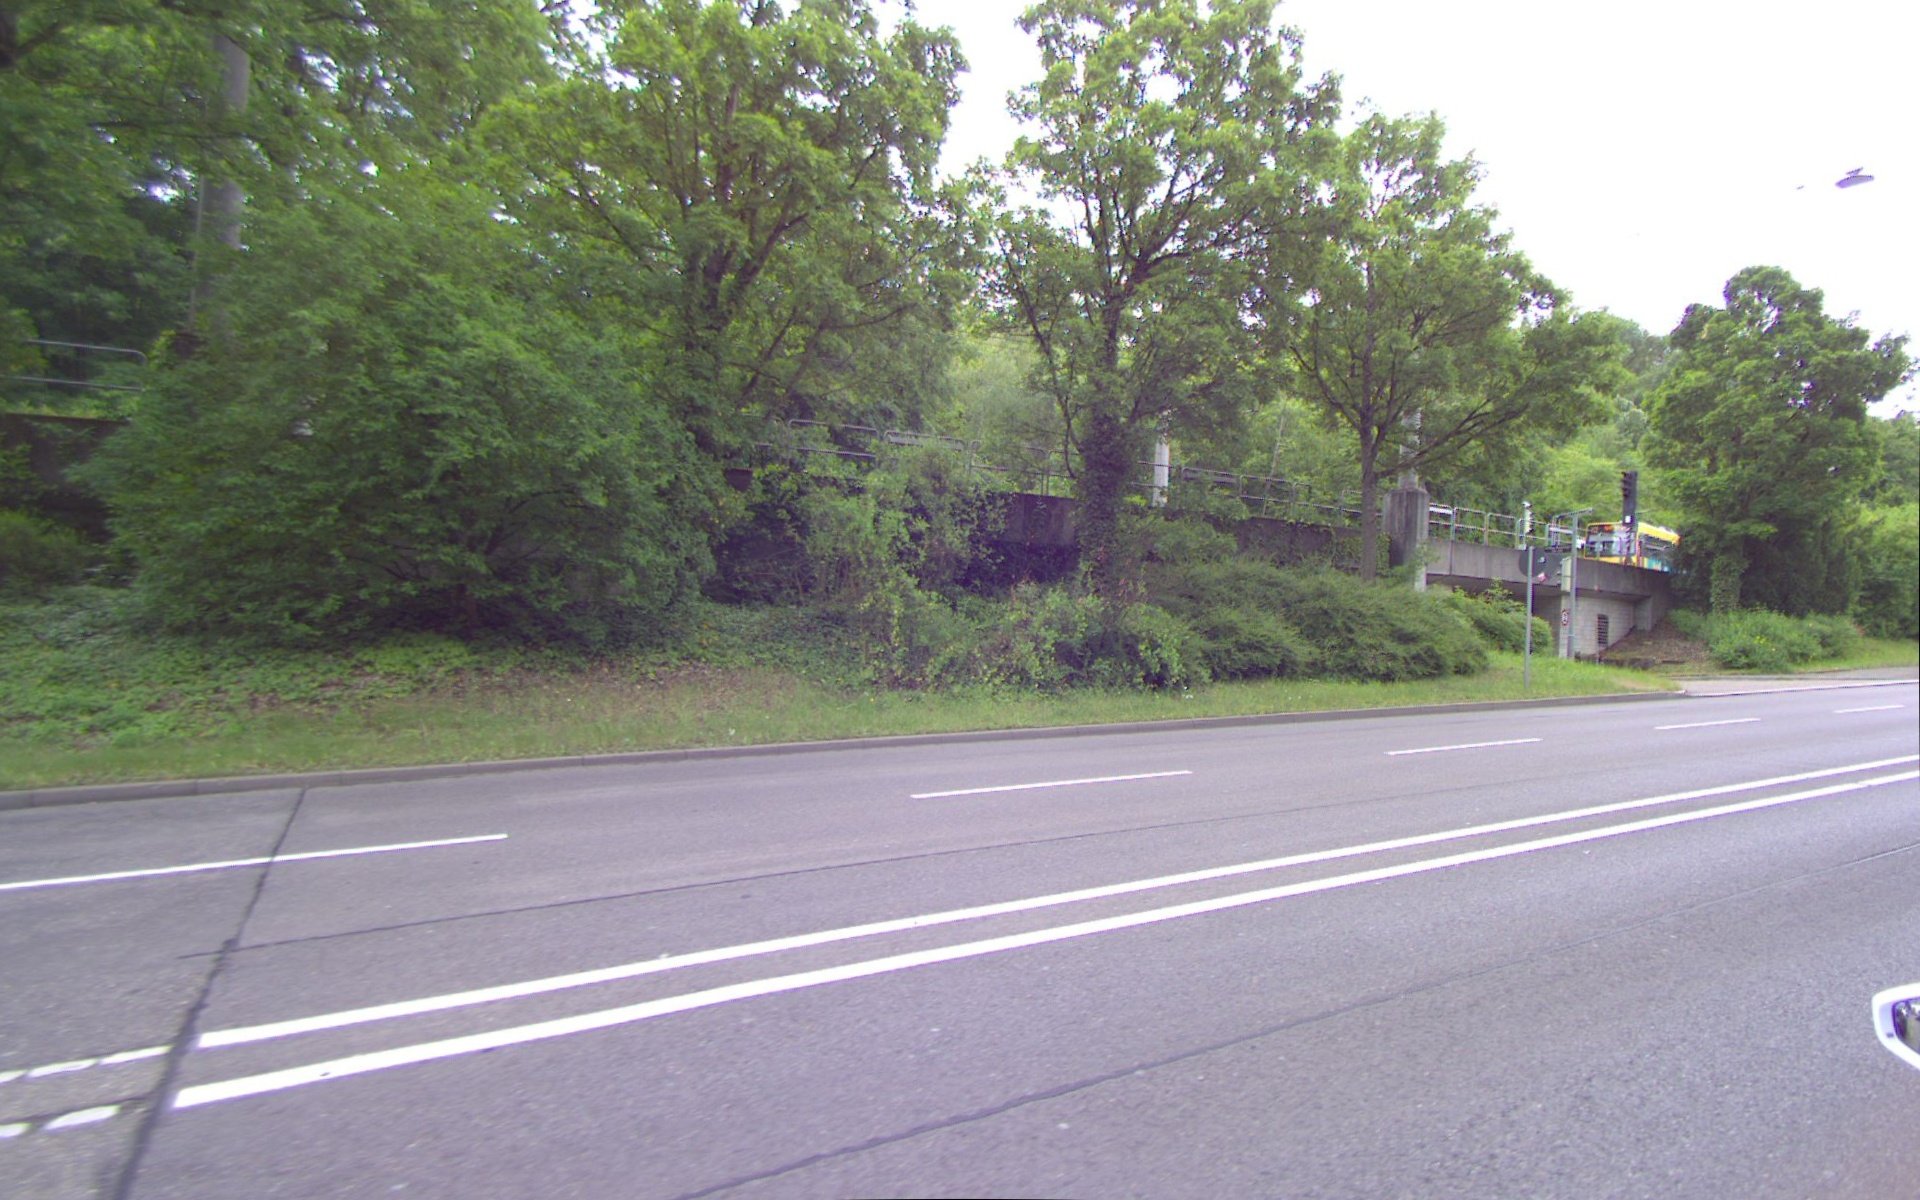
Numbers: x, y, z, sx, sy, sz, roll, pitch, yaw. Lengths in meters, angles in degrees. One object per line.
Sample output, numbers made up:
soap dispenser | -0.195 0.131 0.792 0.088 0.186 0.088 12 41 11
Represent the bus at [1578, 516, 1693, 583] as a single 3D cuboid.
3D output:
bus | 35.773 -2.568 53.091 7.867 2.825 2.524 3 -2 -36
